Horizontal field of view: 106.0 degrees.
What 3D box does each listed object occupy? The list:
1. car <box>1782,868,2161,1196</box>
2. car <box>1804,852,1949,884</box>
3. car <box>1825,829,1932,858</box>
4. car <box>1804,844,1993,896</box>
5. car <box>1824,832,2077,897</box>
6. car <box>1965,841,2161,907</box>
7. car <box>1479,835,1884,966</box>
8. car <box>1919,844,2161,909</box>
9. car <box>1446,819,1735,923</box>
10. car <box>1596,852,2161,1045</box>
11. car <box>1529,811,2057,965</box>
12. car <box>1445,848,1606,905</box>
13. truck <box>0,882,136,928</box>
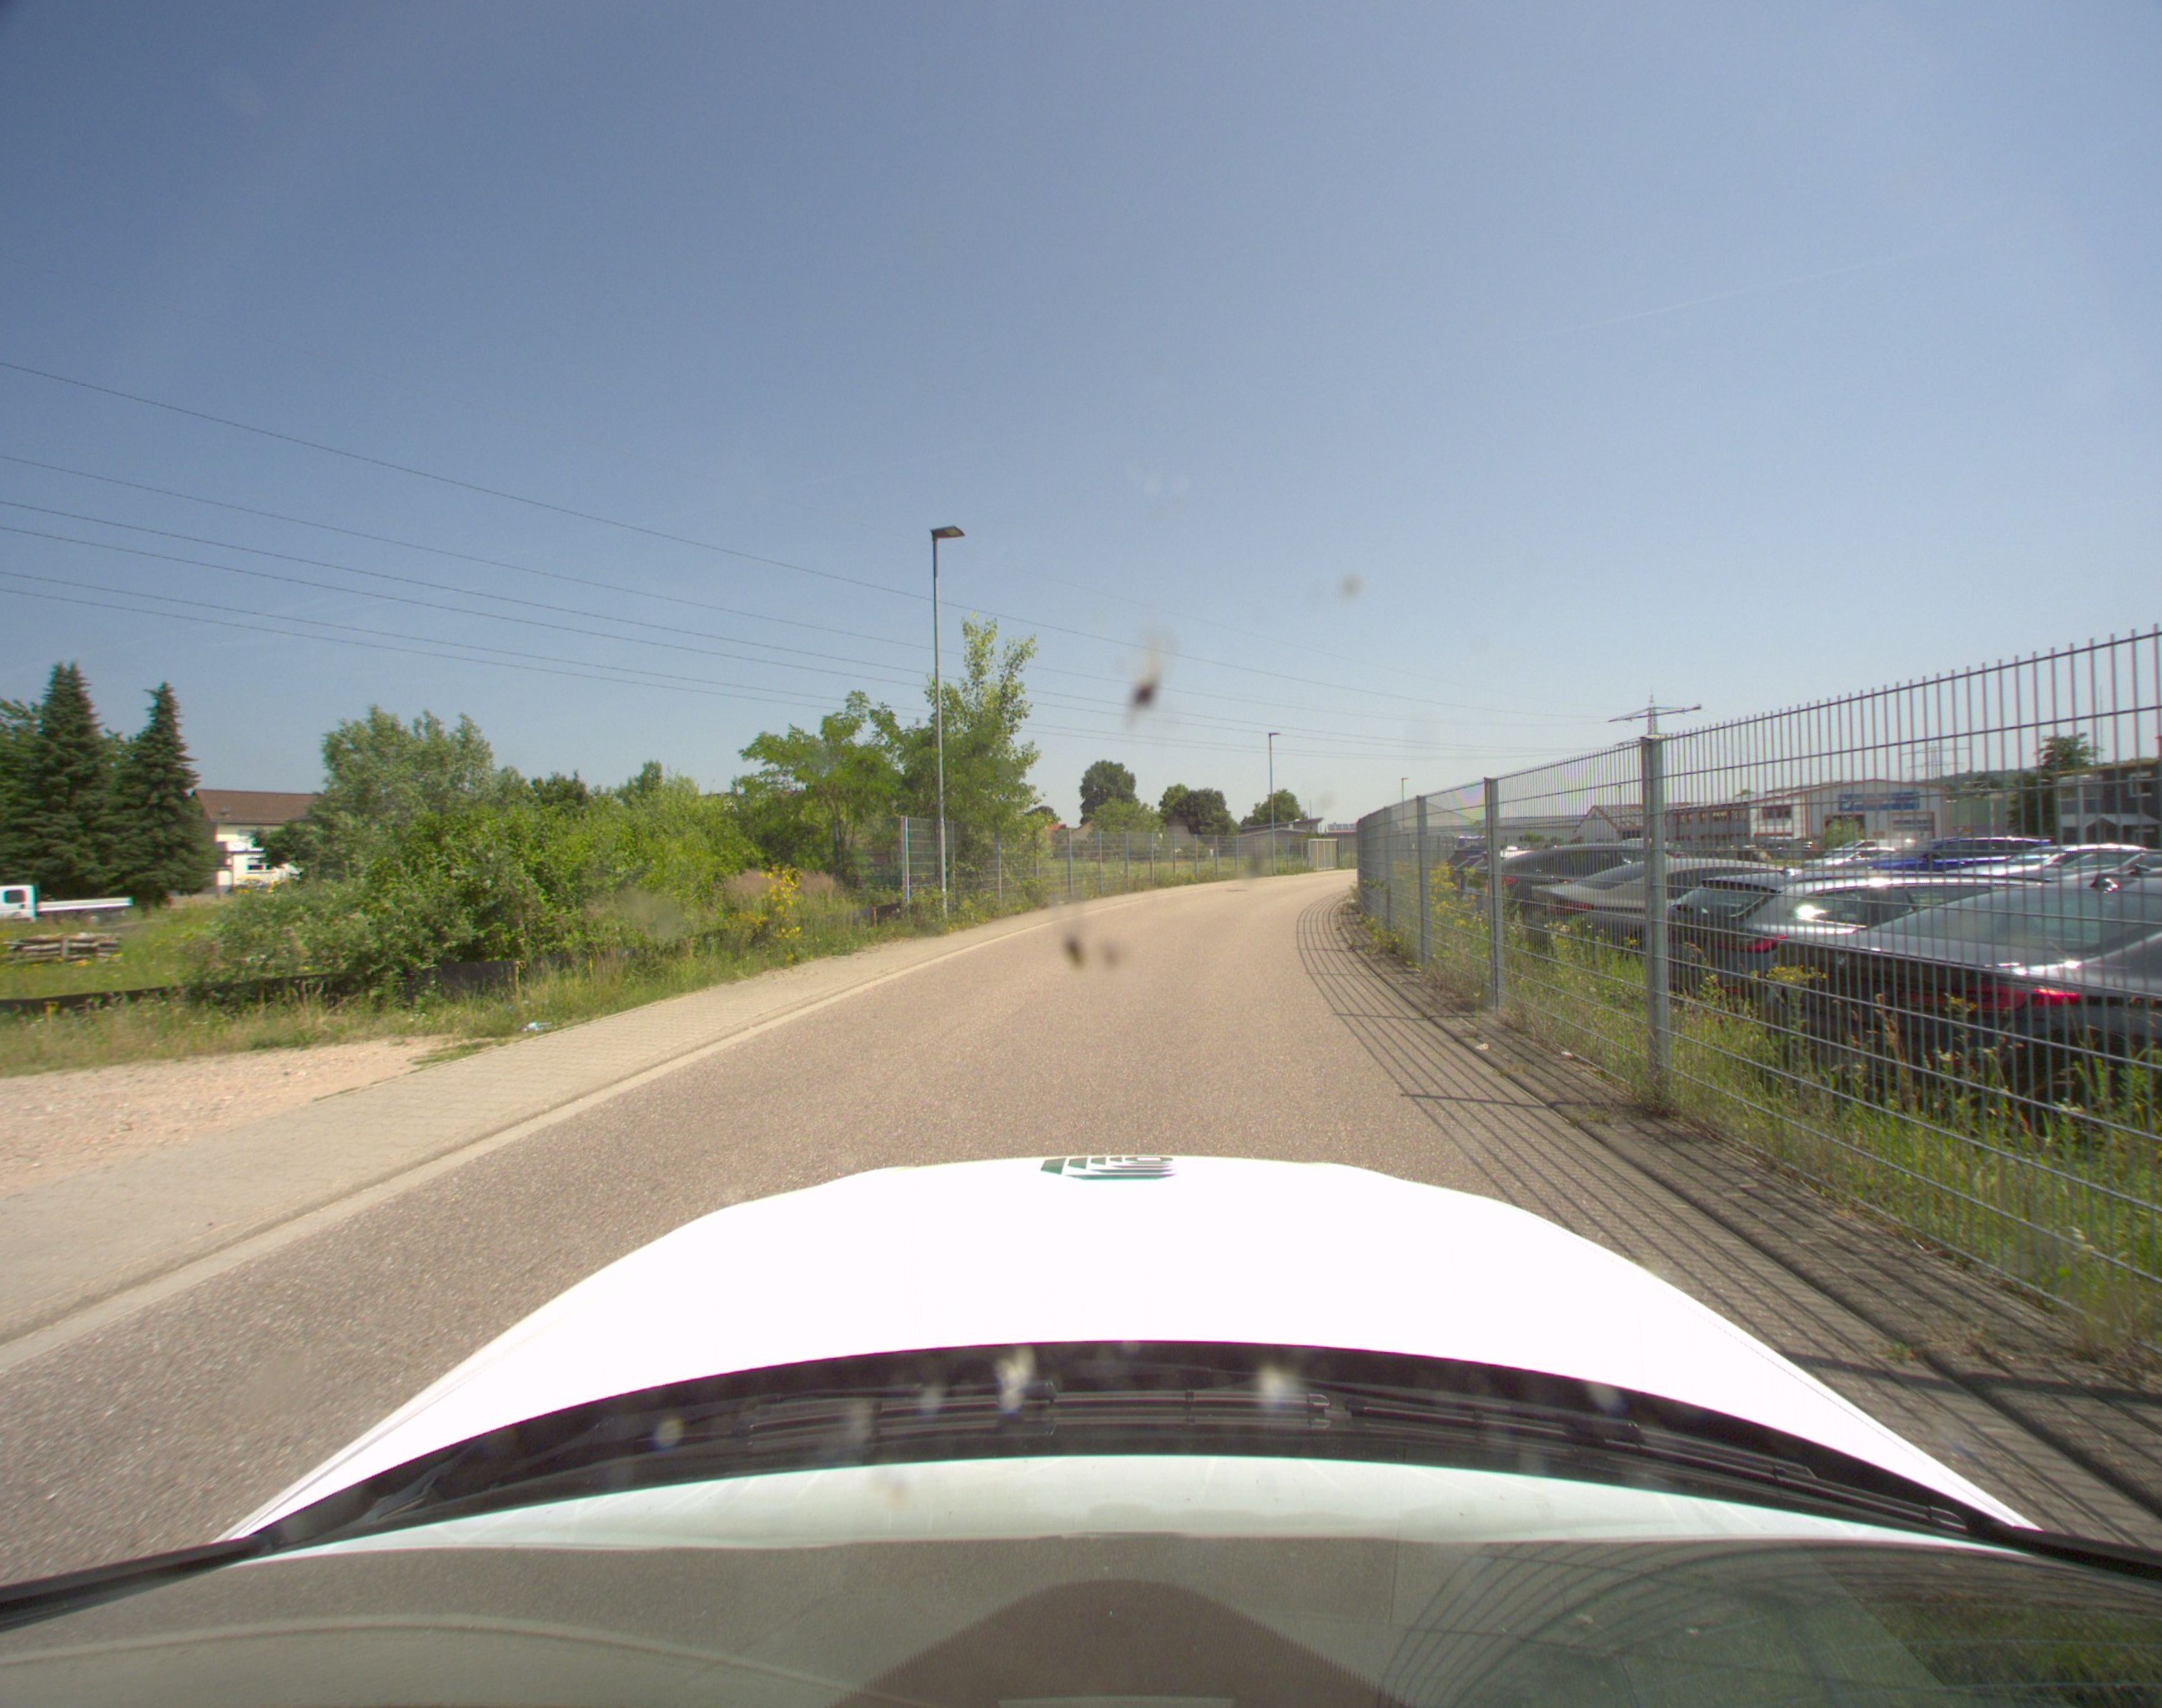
[{"bbox_3d":[6.590,0.787,4.073,4.436,1.381,1.728,0,0,11],"label":"car"},{"bbox_3d":[36.312,0.644,37.319,4.472,1.351,1.634,-1,-1,18],"label":"car"},{"bbox_3d":[55.751,-0.690,57.035,5.019,1.899,1.866,-1,-1,18],"label":"car"},{"bbox_3d":[24.858,0.480,24.911,3.731,1.437,1.619,-2,0,17],"label":"car"},{"bbox_3d":[24.006,0.299,22.723,4.422,1.649,1.888,-2,0,21],"label":"car"},{"bbox_3d":[22.198,0.418,17.692,3.731,1.301,1.619,-2,0,17],"label":"car"},{"bbox_3d":[8.393,0.649,11.905,4.432,1.669,1.732,-2,0,19],"label":"car"},{"bbox_3d":[23.373,0.538,19.876,3.731,1.437,1.619,-2,0,17],"label":"car"},{"bbox_3d":[8.903,0.325,14.653,4.087,1.669,1.732,-2,0,19],"label":"car"},{"bbox_3d":[7.303,0.754,7.071,4.440,1.381,1.728,-2,0,11],"label":"car"},{"bbox_3d":[8.132,0.408,9.846,4.435,1.582,1.804,-2,0,16],"label":"car"},{"bbox_3d":[14.031,0.709,25.782,4.239,1.637,1.776,-2,0,36],"label":"car"},{"bbox_3d":[-51.392,2.513,40.252,2.093,2.010,5.928,-1,0,34],"label":"truck"}]
